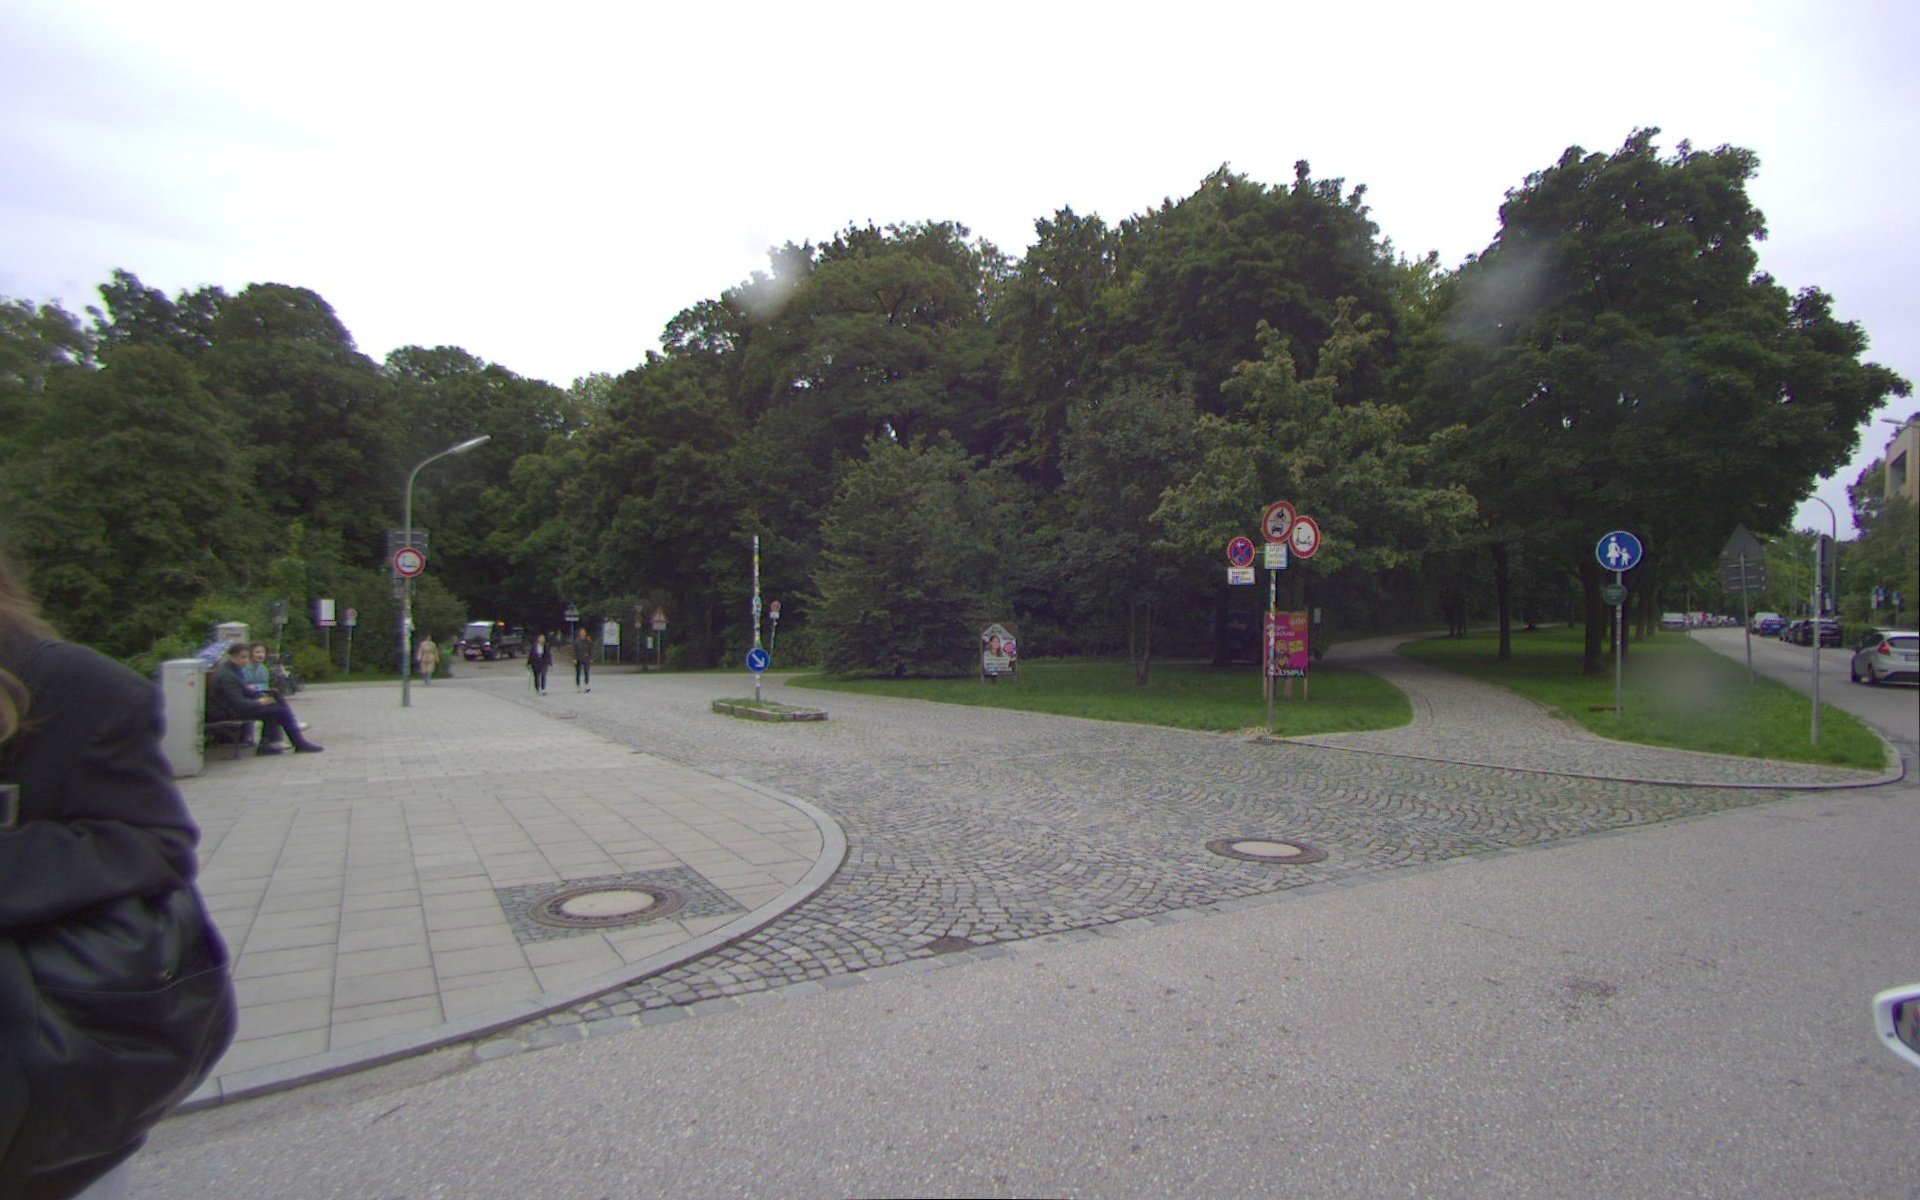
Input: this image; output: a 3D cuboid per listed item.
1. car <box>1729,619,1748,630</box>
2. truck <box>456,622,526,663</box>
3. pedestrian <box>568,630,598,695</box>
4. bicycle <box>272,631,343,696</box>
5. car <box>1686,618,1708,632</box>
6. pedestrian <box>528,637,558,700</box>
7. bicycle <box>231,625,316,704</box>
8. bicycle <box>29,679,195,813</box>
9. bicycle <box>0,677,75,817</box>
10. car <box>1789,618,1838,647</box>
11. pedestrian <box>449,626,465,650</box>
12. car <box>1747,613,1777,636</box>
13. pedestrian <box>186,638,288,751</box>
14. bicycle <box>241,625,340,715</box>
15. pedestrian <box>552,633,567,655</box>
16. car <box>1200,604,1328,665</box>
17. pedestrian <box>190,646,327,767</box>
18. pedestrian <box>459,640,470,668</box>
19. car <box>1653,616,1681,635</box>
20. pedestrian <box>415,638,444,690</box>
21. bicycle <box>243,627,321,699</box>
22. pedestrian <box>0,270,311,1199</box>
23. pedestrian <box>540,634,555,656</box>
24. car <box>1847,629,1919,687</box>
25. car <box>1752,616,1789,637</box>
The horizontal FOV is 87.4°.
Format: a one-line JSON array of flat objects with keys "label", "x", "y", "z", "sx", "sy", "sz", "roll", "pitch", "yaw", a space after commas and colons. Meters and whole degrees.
[{"label": "car", "x": 120.350, "y": 3.737, "z": 155.326, "sx": 1.972, "sy": 1.622, "sz": 4.441, "roll": 0, "pitch": -1, "yaw": 43}, {"label": "truck", "x": -30.666, "y": 2.727, "z": 65.879, "sx": 2.354, "sy": 2.494, "sz": 5.491, "roll": 1, "pitch": -1, "yaw": -4}, {"label": "pedestrian", "x": -10.280, "y": 1.686, "z": 27.357, "sx": 0.652, "sy": 1.720, "sz": 0.746, "roll": 1, "pitch": 0, "yaw": -29}, {"label": "bicycle", "x": -18.744, "y": 1.779, "z": 28.807, "sx": 3.109, "sy": 1.684, "sz": 1.046, "roll": 0, "pitch": -1, "yaw": 44}, {"label": "car", "x": 90.381, "y": 3.036, "z": 123.178, "sx": 1.969, "sy": 1.622, "sz": 4.448, "roll": 0, "pitch": -1, "yaw": 39}, {"label": "pedestrian", "x": -11.129, "y": 1.812, "z": 26.787, "sx": 0.683, "sy": 1.602, "sz": 0.746, "roll": 1, "pitch": 0, "yaw": -26}, {"label": "bicycle", "x": -15.959, "y": 1.438, "z": 23.308, "sx": 2.962, "sy": 1.684, "sz": 1.046, "roll": 0, "pitch": -1, "yaw": 44}, {"label": "bicycle", "x": -7.215, "y": 1.209, "z": 8.613, "sx": 0.406, "sy": 0.990, "sz": 1.275, "roll": 0, "pitch": -1, "yaw": -4}, {"label": "bicycle", "x": -7.217, "y": 1.089, "z": 7.265, "sx": 0.406, "sy": 0.990, "sz": 1.277, "roll": 0, "pitch": -1, "yaw": 6}, {"label": "car", "x": 51.865, "y": 1.960, "z": 61.116, "sx": 1.768, "sy": 1.702, "sz": 3.989, "roll": 0, "pitch": -1, "yaw": 33}, {"label": "pedestrian", "x": -43.165, "y": 3.285, "z": 86.118, "sx": 1.042, "sy": 2.040, "sz": 1.136, "roll": 1, "pitch": -1, "yaw": -37}, {"label": "car", "x": 72.457, "y": 2.201, "z": 90.803, "sx": 2.040, "sy": 1.992, "sz": 4.957, "roll": 0, "pitch": -1, "yaw": 37}, {"label": "pedestrian", "x": -9.298, "y": 1.178, "z": 12.928, "sx": 1.023, "sy": 1.353, "sz": 0.946, "roll": 1, "pitch": -1, "yaw": -37}, {"label": "bicycle", "x": -13.903, "y": 1.378, "z": 20.809, "sx": 3.109, "sy": 1.684, "sz": 1.046, "roll": 0, "pitch": -1, "yaw": 44}, {"label": "pedestrian", "x": -30.828, "y": 3.404, "z": 77.326, "sx": 0.723, "sy": 1.674, "sz": 0.877, "roll": -1, "pitch": -1, "yaw": 42}, {"label": "car", "x": 10.517, "y": 1.194, "z": 34.913, "sx": 3.921, "sy": 2.040, "sz": 1.788, "roll": 0, "pitch": -1, "yaw": 1}, {"label": "pedestrian", "x": -8.146, "y": 1.195, "z": 11.685, "sx": 1.254, "sy": 1.285, "sz": 0.841, "roll": 1, "pitch": -1, "yaw": -37}, {"label": "pedestrian", "x": -37.801, "y": 4.120, "z": 76.634, "sx": 0.688, "sy": 2.040, "sz": 0.712, "roll": 0, "pitch": -1, "yaw": -30}, {"label": "car", "x": 61.643, "y": 2.195, "z": 87.646, "sx": 1.967, "sy": 1.622, "sz": 4.453, "roll": 0, "pitch": -1, "yaw": 35}, {"label": "pedestrian", "x": -18.241, "y": 2.173, "z": 34.525, "sx": 0.742, "sy": 1.728, "sz": 1.101, "roll": 1, "pitch": 0, "yaw": -34}, {"label": "bicycle", "x": -17.589, "y": 1.576, "z": 26.014, "sx": 3.109, "sy": 1.684, "sz": 1.046, "roll": 0, "pitch": -1, "yaw": 44}, {"label": "pedestrian", "x": -1.199, "y": 0.530, "z": 1.155, "sx": 0.662, "sy": 1.719, "sz": 0.537, "roll": 1, "pitch": -2, "yaw": -43}, {"label": "pedestrian", "x": -31.271, "y": 3.386, "z": 76.158, "sx": 0.865, "sy": 1.674, "sz": 0.732, "roll": 0, "pitch": -1, "yaw": -6}, {"label": "car", "x": 24.927, "y": 1.502, "z": 26.642, "sx": 1.725, "sy": 1.425, "sz": 3.714, "roll": 0, "pitch": -1, "yaw": 36}, {"label": "car", "x": 67.029, "y": 2.191, "z": 83.103, "sx": 1.966, "sy": 1.622, "sz": 4.242, "roll": 0, "pitch": -1, "yaw": 34}]
